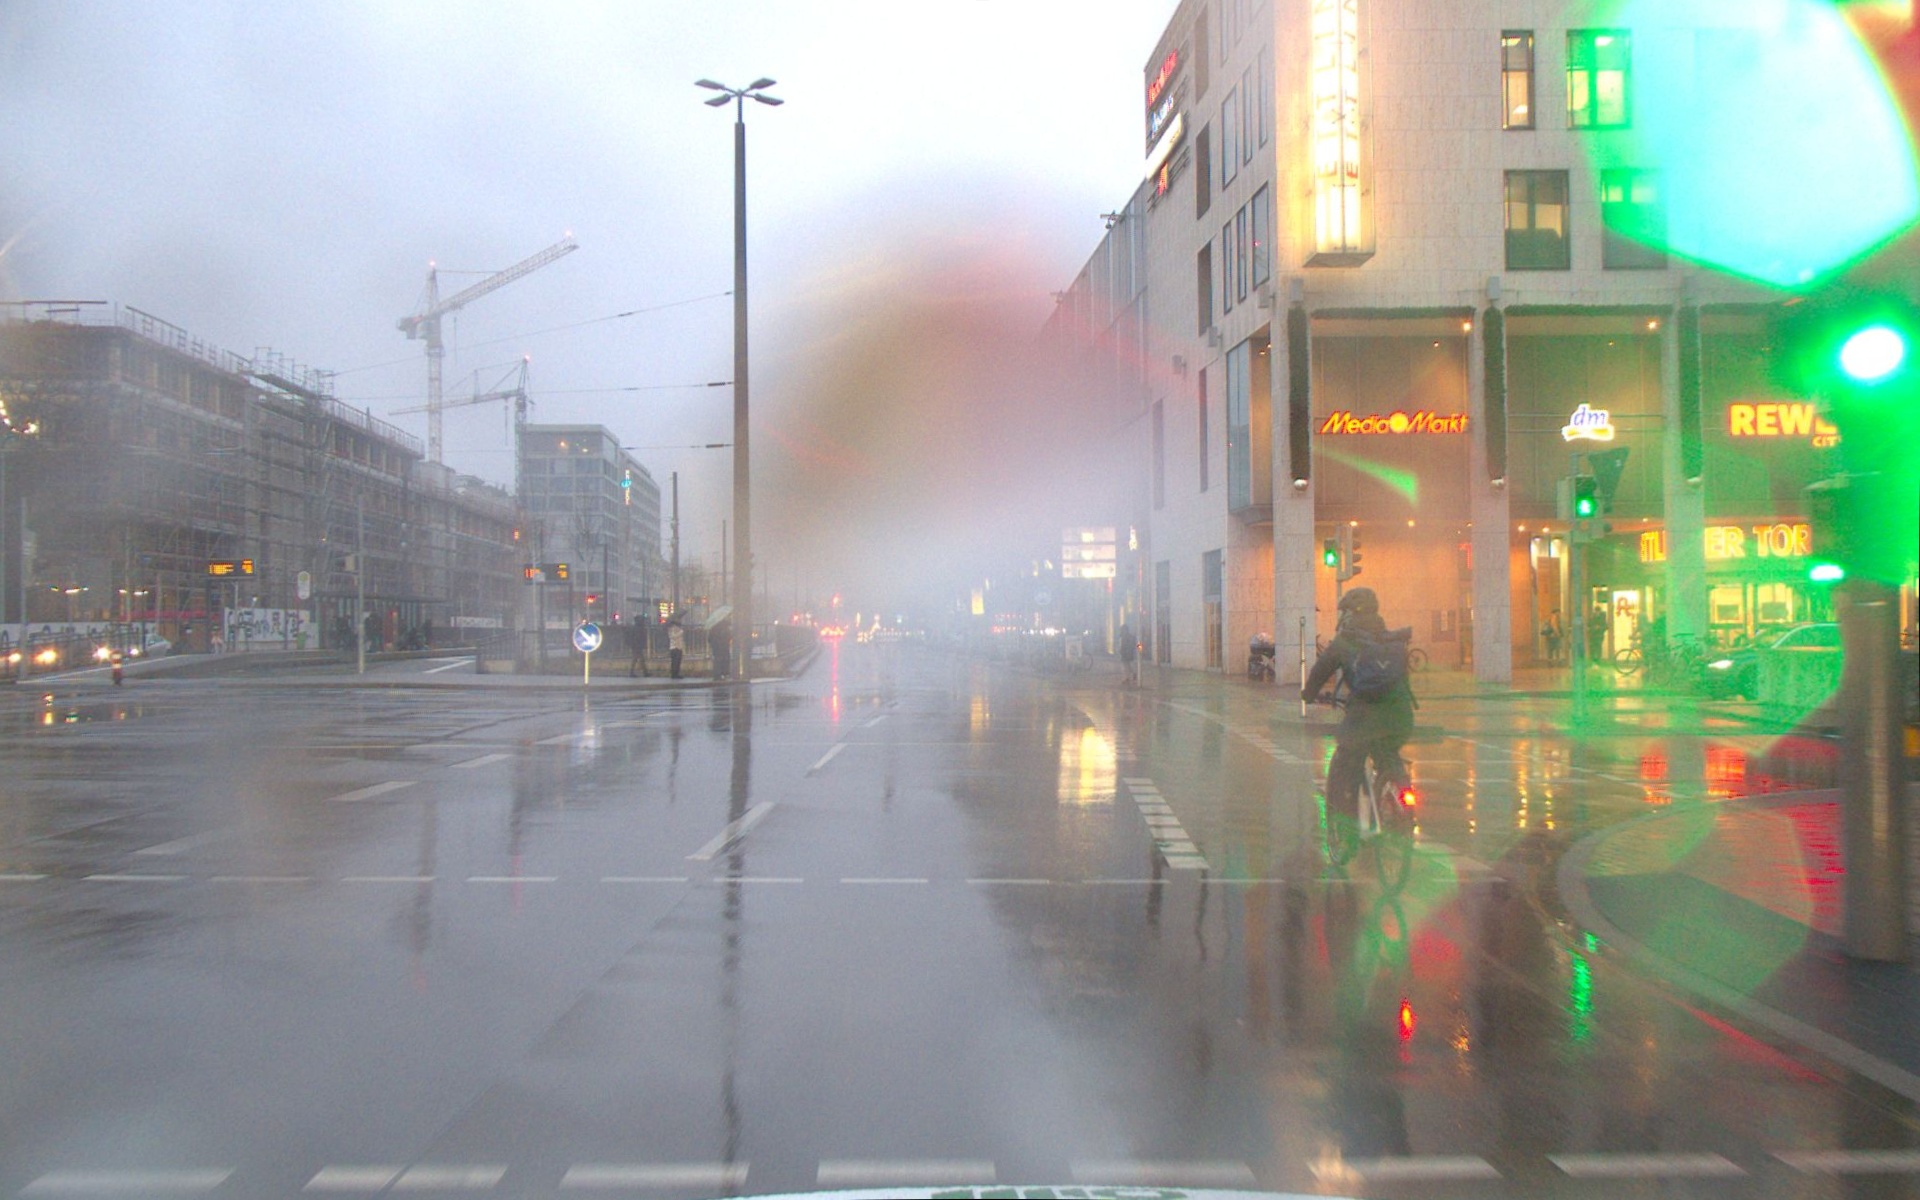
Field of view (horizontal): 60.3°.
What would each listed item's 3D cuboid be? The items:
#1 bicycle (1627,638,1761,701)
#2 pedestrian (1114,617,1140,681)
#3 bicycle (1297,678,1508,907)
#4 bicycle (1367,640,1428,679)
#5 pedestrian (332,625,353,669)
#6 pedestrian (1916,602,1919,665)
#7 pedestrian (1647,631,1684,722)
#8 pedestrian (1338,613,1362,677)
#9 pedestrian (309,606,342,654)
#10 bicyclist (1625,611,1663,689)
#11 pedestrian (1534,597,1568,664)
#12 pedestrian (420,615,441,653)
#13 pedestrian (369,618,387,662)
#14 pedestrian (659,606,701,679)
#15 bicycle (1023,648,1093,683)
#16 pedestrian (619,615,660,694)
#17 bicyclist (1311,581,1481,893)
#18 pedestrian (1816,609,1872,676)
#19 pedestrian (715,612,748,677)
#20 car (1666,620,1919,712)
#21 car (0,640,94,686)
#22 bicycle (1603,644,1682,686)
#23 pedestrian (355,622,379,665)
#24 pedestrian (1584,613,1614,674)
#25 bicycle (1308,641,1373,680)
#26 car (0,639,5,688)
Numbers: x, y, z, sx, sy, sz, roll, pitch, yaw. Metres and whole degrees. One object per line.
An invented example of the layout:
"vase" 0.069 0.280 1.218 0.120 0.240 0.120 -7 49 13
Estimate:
"bicycle" 16.836 1.583 37.967 2.660 1.383 0.956 -1 -2 -5
"pedestrian" 4.613 1.337 45.611 0.624 1.739 0.573 -1 -1 -2
"bicycle" 2.480 1.040 9.482 0.694 1.113 1.783 0 0 -2
"bicycle" 12.582 1.698 47.560 1.614 1.088 0.524 1 -2 -5
"pedestrian" -27.256 2.084 73.032 0.684 1.914 0.553 1 -2 -2
"pedestrian" 26.512 0.900 44.775 0.875 1.714 0.528 -1 -2 -2
"pedestrian" 19.604 2.121 45.975 0.700 2.484 0.757 1 -2 -2
"pedestrian" 10.955 1.274 46.439 0.587 1.775 0.525 1 -2 7
"pedestrian" -27.494 1.312 71.714 0.922 2.049 1.094 1 -2 1
"bicyclist" 18.366 1.335 44.422 0.903 2.049 0.907 -1 -1 22
"pedestrian" 18.272 0.942 51.118 0.828 2.049 0.698 -1 -1 7
"pedestrian" -28.575 1.831 89.312 0.925 2.049 1.091 1 -2 -12
"pedestrian" -26.930 1.843 76.559 0.559 2.003 0.664 2 -2 -7
"pedestrian" -7.261 1.100 42.858 0.813 1.864 0.777 2 -2 -32
"bicycle" 3.443 2.287 58.147 2.394 1.174 0.674 -1 -2 -3
"pedestrian" -8.438 1.425 43.543 0.771 2.049 0.724 0 -2 41
"bicyclist" 2.470 0.746 9.469 0.688 1.689 0.964 0 -1 -2
"pedestrian" 22.941 1.095 42.955 1.009 1.713 0.823 1 -2 -2
"pedestrian" -6.066 1.187 43.909 0.601 1.715 0.575 0 -2 41
"car" 15.864 1.247 31.613 3.905 1.646 2.000 1 -1 0
"car" -38.184 2.587 68.843 1.952 1.822 4.001 1 -1 3
"bicycle" 18.322 1.741 44.427 1.920 1.105 0.927 -1 -1 21
"pedestrian" -26.937 1.984 75.176 0.750 1.931 0.762 1 -3 -2
"pedestrian" 18.661 1.274 48.271 0.721 1.748 0.738 -2 -2 26
"bicycle" 10.910 1.734 47.413 1.735 1.088 0.523 1 -2 -10
"car" -37.528 2.382 61.765 1.830 1.860 3.992 1 -1 -8
